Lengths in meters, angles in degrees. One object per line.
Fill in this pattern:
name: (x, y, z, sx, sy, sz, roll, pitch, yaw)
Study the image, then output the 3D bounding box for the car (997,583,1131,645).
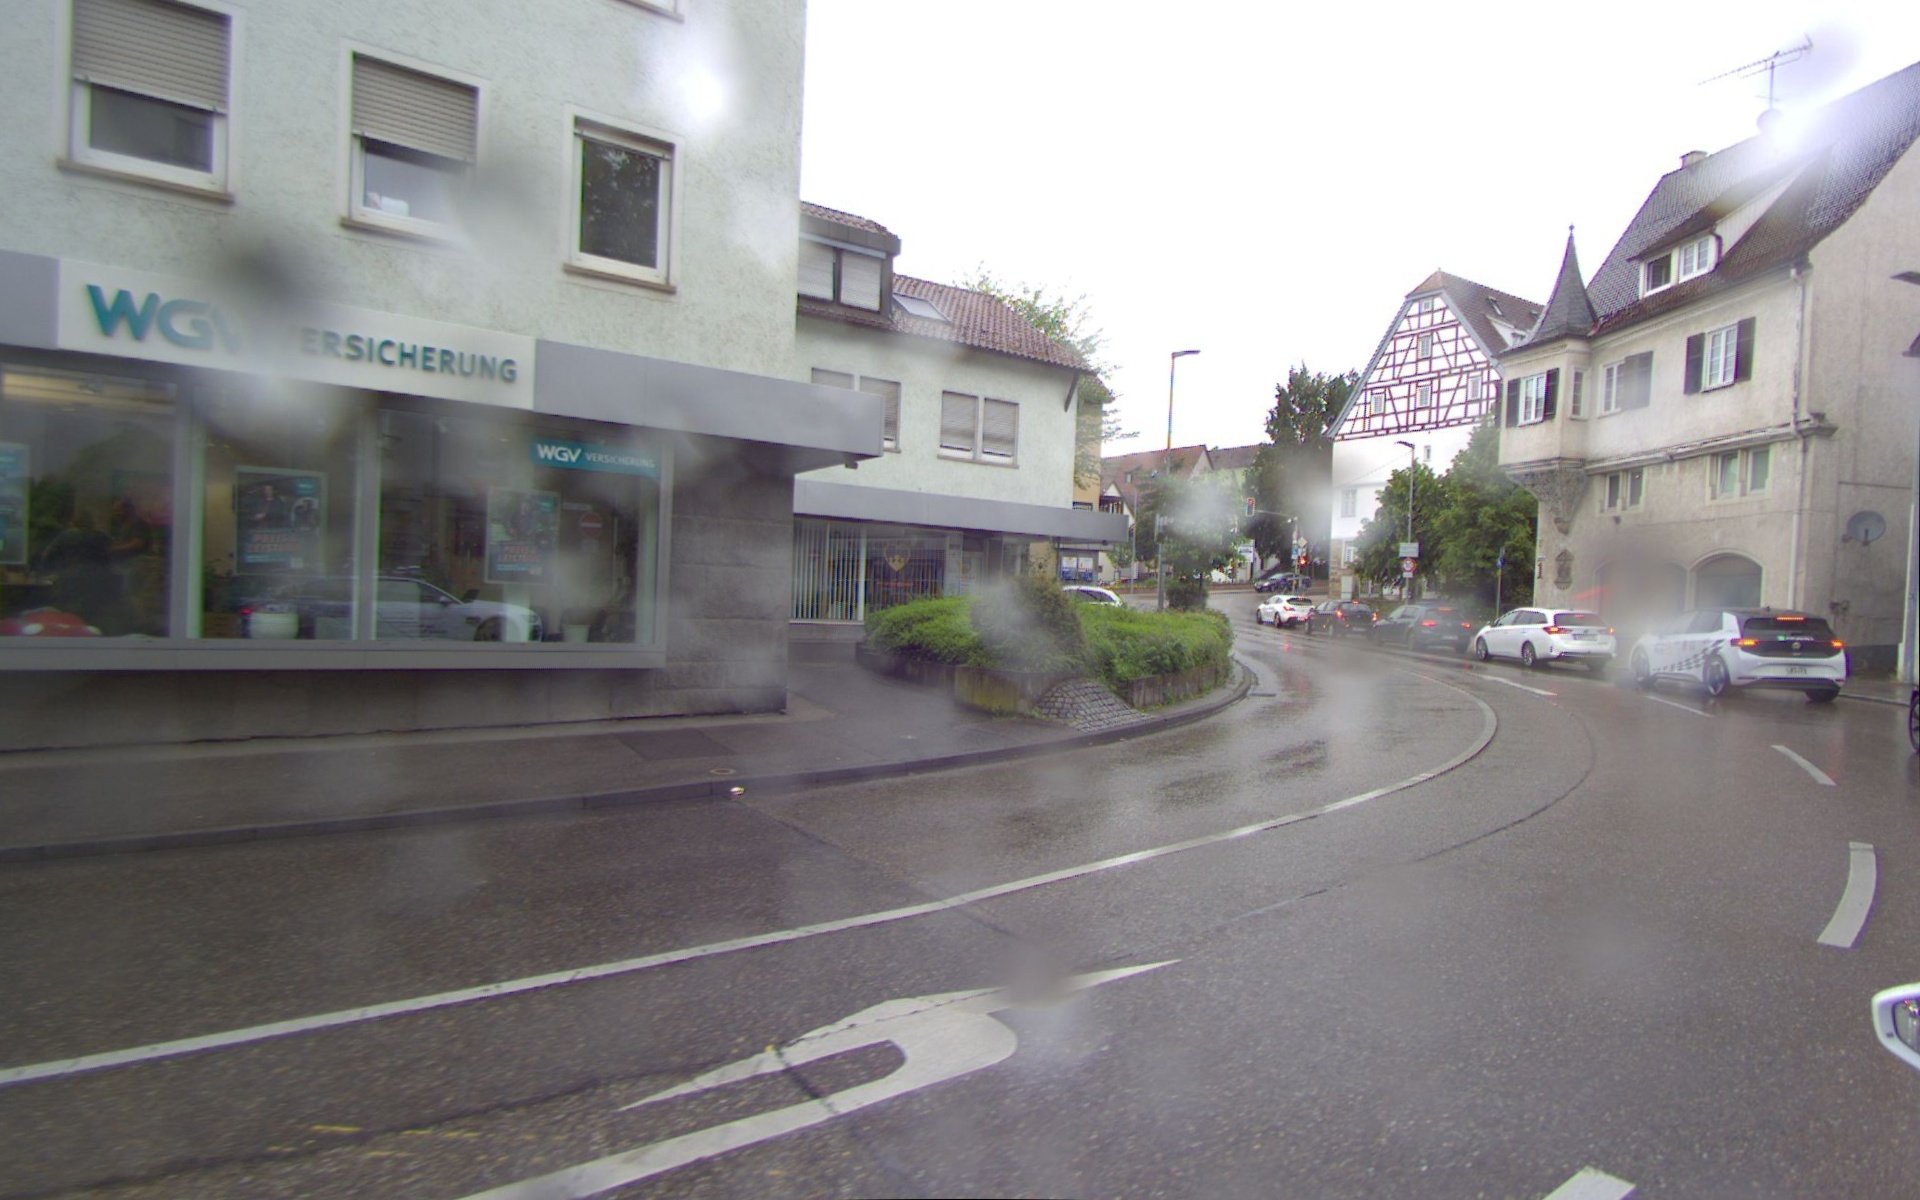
car: (3.010, 0.406, 29.276, 3.484, 1.708, 1.704, 1, 1, -21)

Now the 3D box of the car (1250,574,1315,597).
car: (23.982, -1.094, 74.790, 4.462, 1.409, 1.643, 2, 7, -21)

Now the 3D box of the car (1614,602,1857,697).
car: (14.032, 0.805, 18.517, 1.758, 1.537, 4.243, 0, 0, 10)

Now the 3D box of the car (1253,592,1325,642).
car: (15.035, 0.744, 46.141, 1.941, 2.118, 3.959, 0, 1, -1)

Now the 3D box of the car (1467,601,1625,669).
car: (14.732, 0.815, 25.552, 1.755, 1.485, 4.165, 0, 1, 3)

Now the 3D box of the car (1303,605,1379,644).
car: (14.865, 0.928, 39.389, 1.635, 1.330, 3.623, 0, 1, 0)

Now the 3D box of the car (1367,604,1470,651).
car: (14.924, 0.856, 32.904, 1.494, 1.380, 3.765, 0, 1, -3)

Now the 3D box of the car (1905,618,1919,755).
car: (10.444, 0.978, 9.429, 1.709, 1.470, 4.226, 1, 1, 36)

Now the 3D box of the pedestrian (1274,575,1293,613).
pedestrian: (20.407, -0.350, 63.460, 0.850, 2.357, 1.231, 1, 0, 6)
